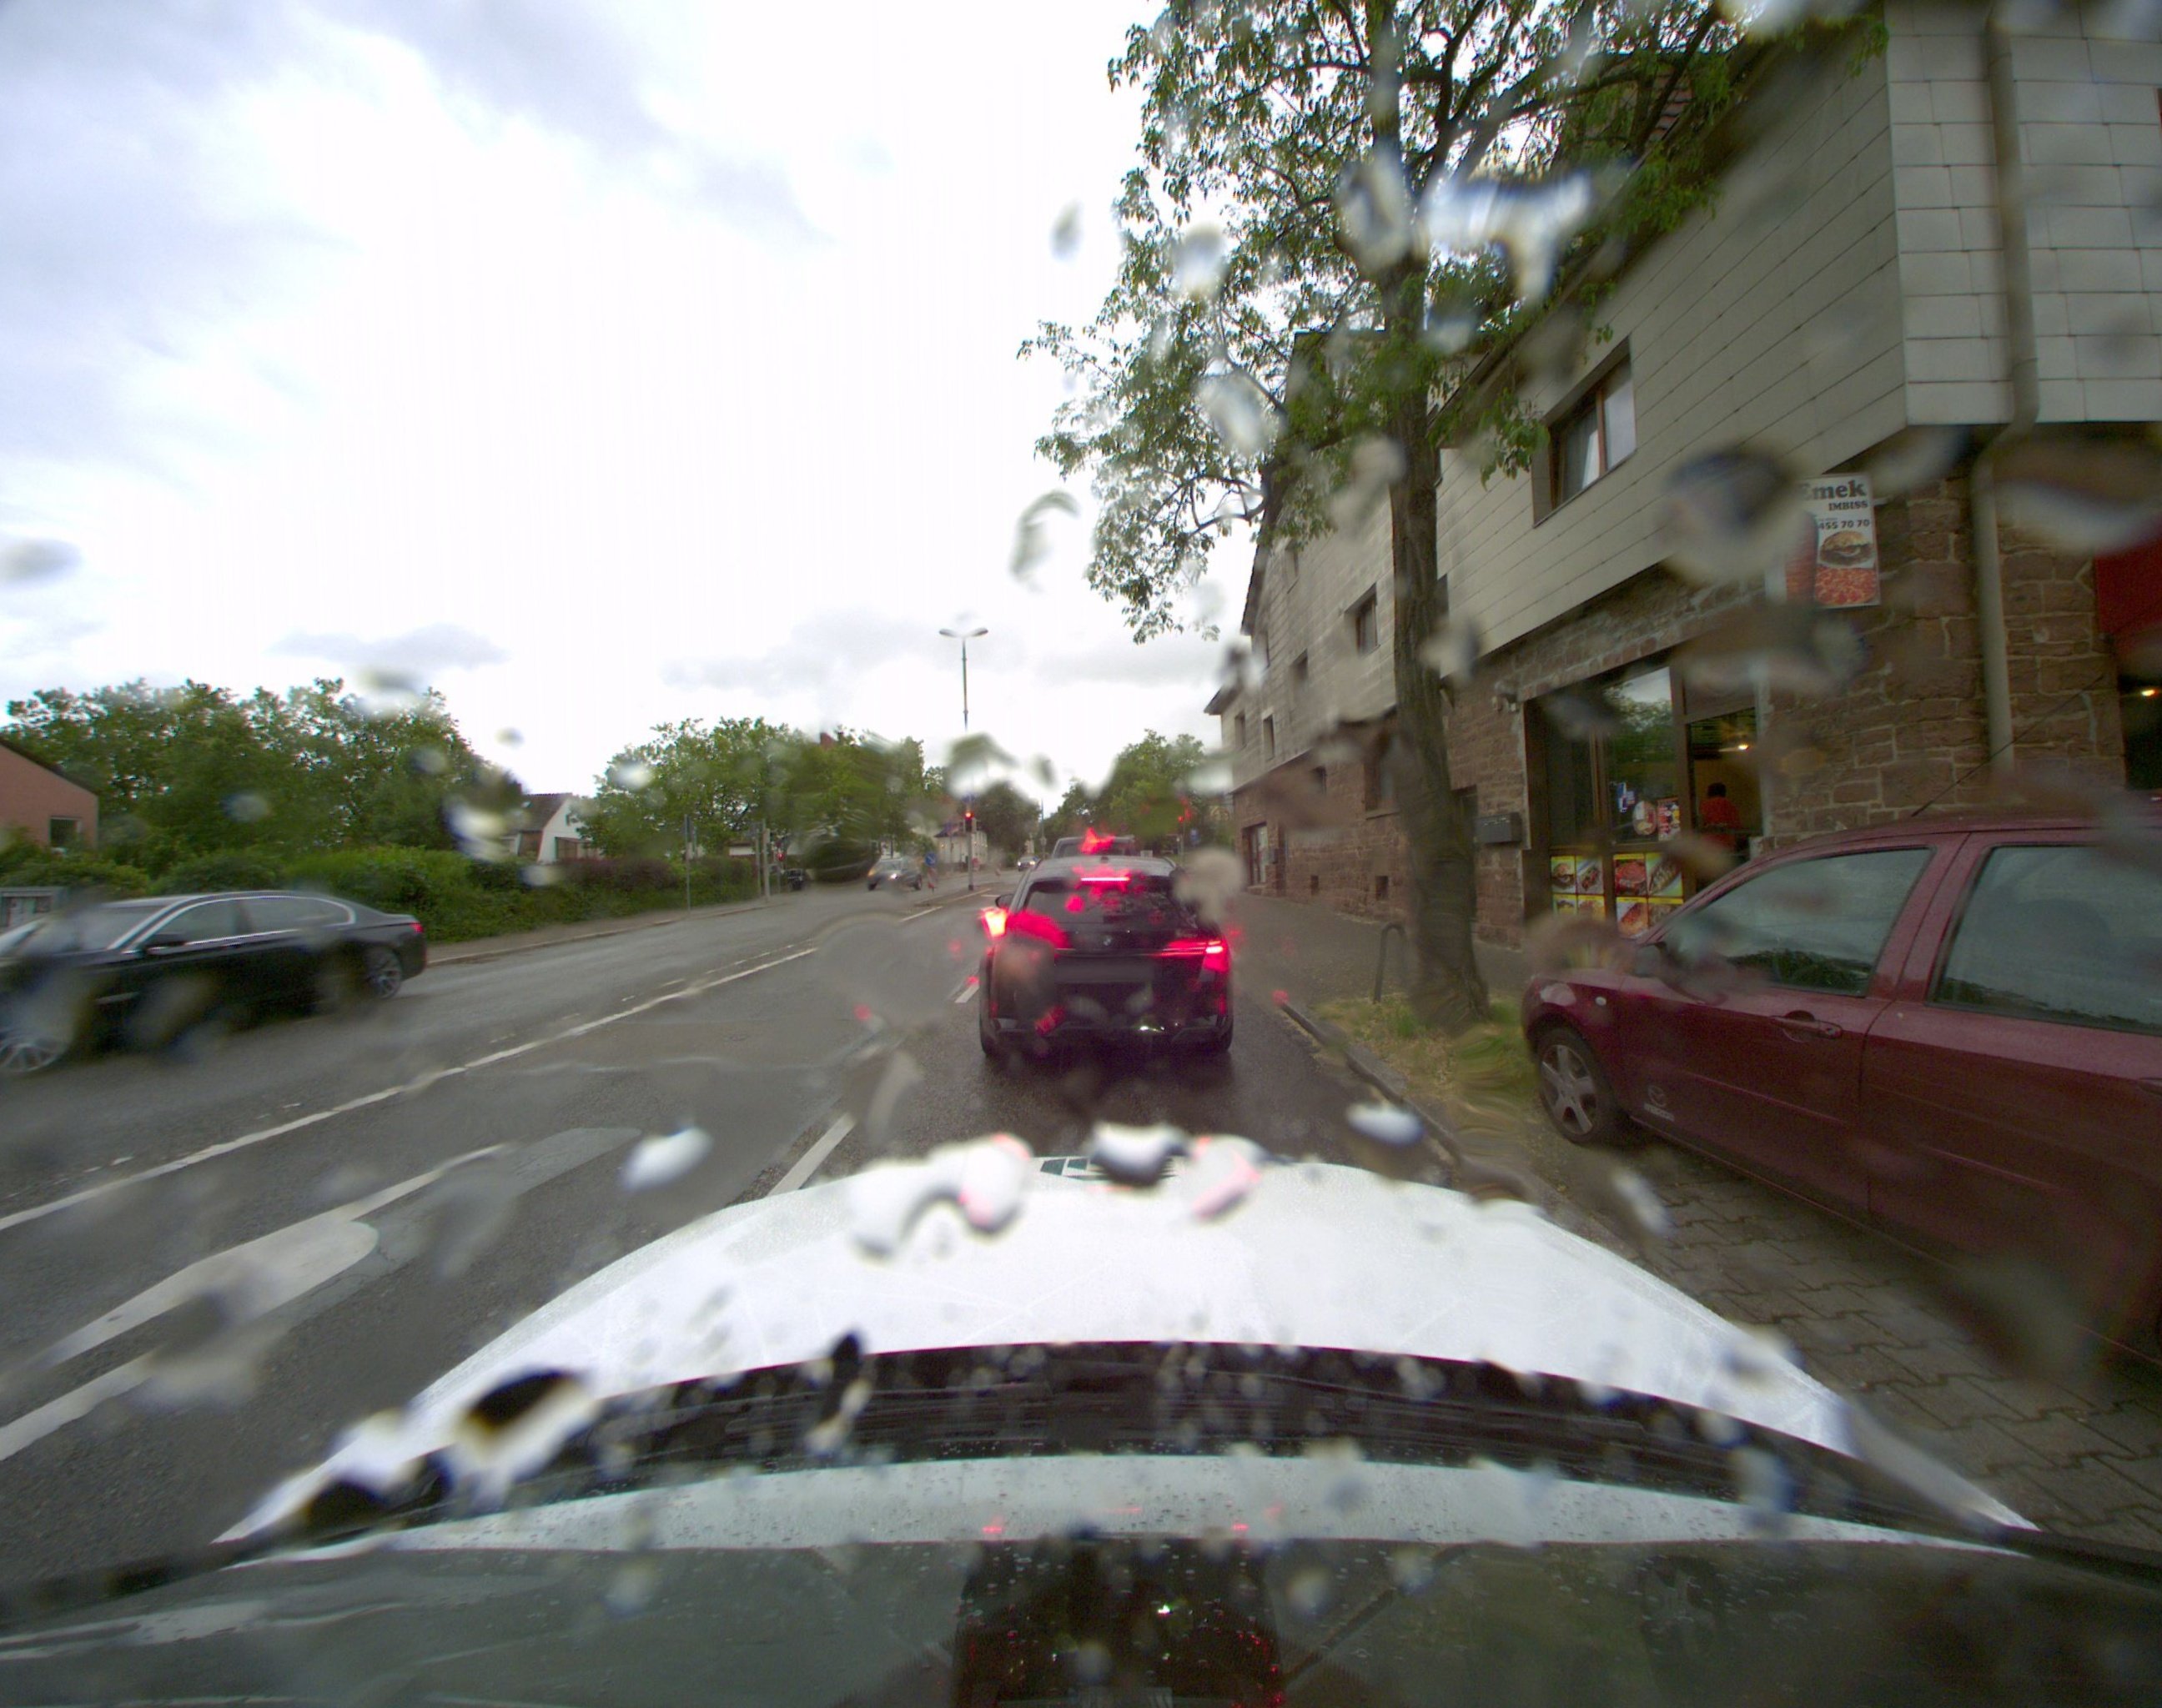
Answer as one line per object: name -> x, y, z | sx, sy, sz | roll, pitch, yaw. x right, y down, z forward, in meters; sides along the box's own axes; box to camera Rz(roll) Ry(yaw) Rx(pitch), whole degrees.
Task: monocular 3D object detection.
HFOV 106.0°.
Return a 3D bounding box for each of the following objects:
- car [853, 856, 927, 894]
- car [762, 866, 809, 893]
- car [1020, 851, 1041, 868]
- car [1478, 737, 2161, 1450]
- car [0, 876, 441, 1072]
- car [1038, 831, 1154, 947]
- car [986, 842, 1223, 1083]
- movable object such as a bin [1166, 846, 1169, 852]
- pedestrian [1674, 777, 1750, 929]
car -> -9.053, 0.974, 39.027 | 1.897, 1.590, 4.328 | -3, 0, 9
car -> -20.972, 1.768, 57.919 | 1.803, 1.551, 4.001 | 0, 3, 0
car -> -5.135, 0.518, 83.260 | 1.893, 1.577, 4.500 | -2, 1, -1
car -> 3.066, 0.534, 2.690 | 1.606, 1.504, 3.754 | 0, -2, -1
car -> -9.478, 1.094, 8.284 | 1.904, 1.454, 4.947 | -6, 0, 0
car -> 0.201, 0.561, 14.620 | 1.807, 1.809, 3.754 | 0, -1, -1
car -> 0.125, 0.708, 7.017 | 1.519, 1.534, 3.530 | 0, -1, -1
movable object such as a bin -> 12.240, -0.721, 115.186 | 0.446, 0.906, 0.465 | -1, -1, 17
pedestrian -> 7.096, -0.011, 9.175 | 0.490, 1.660, 0.455 | 0, -1, 1
